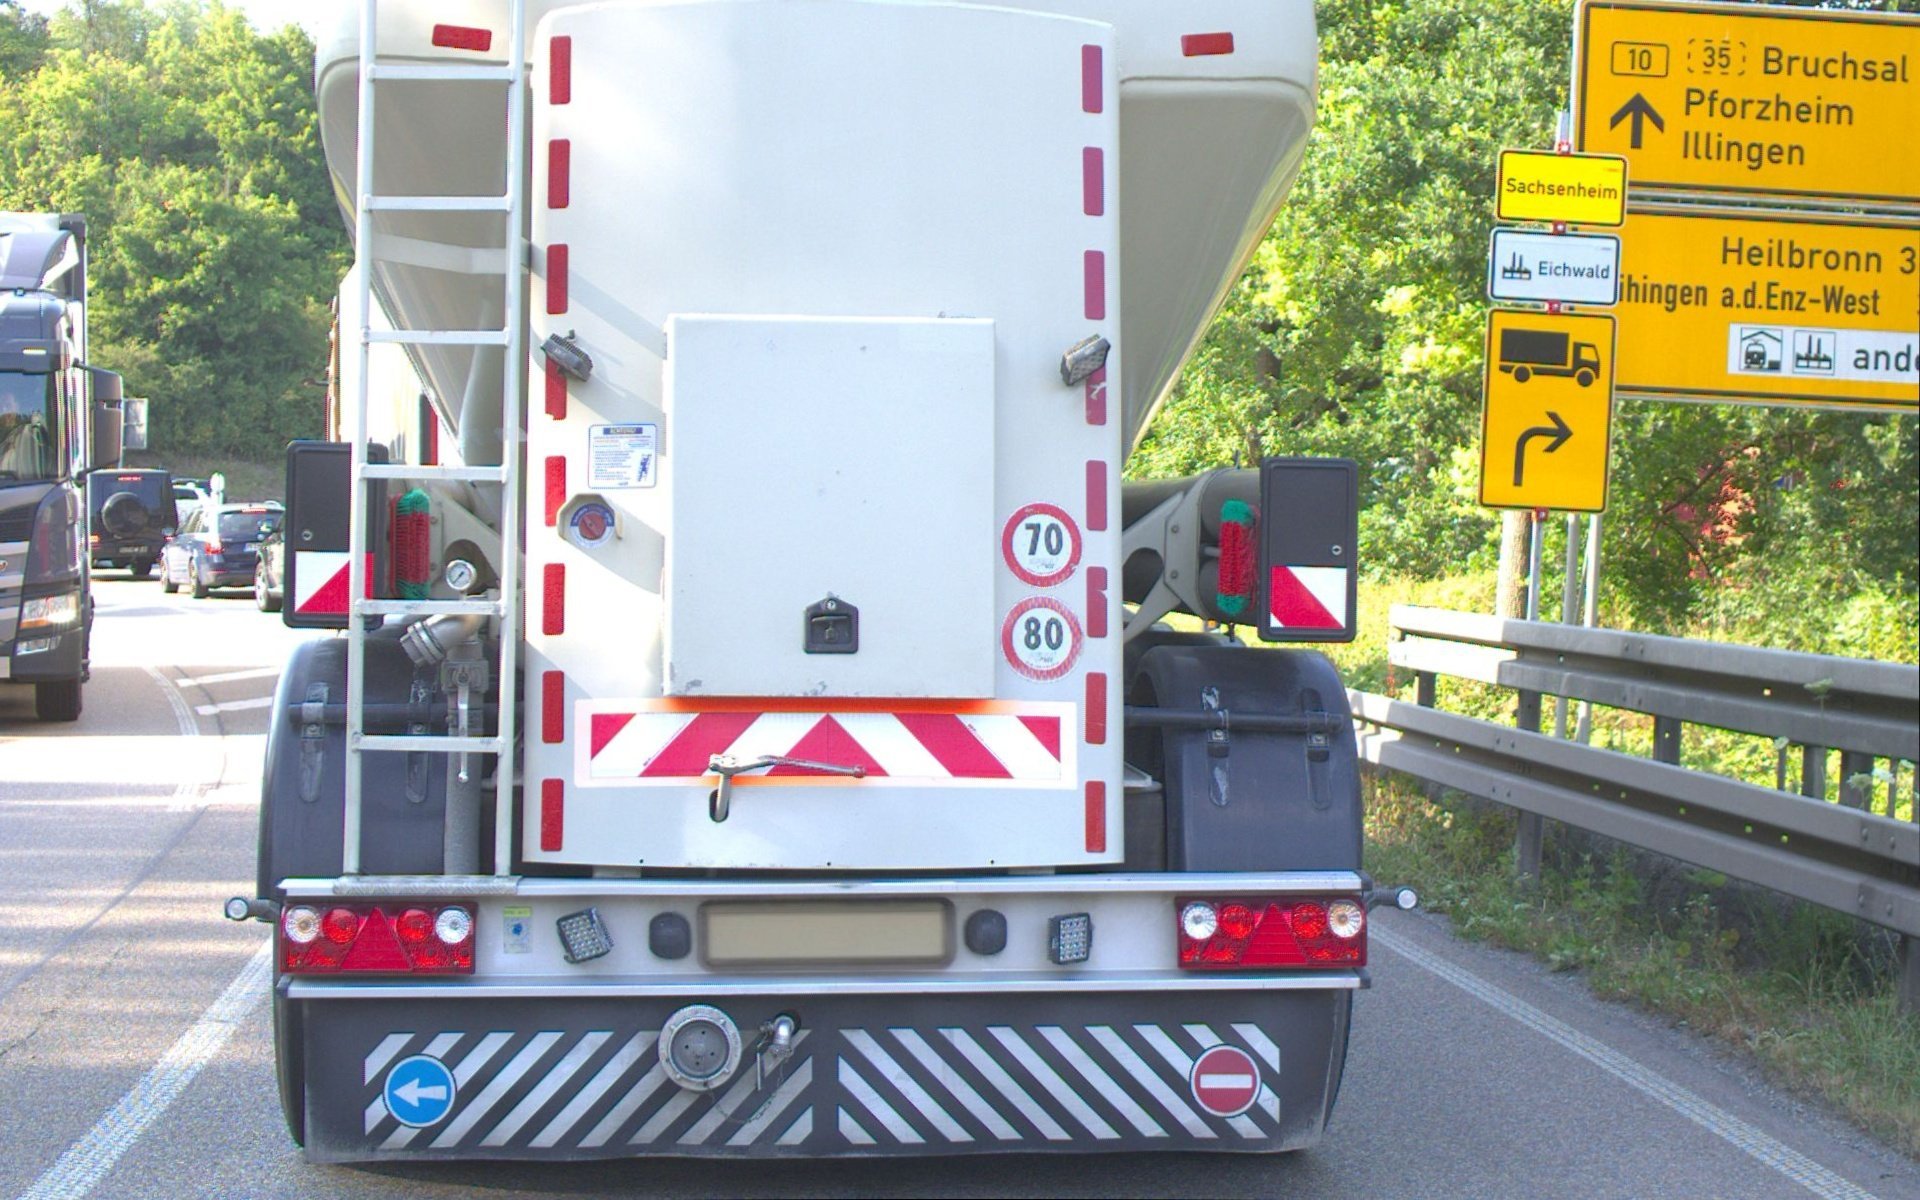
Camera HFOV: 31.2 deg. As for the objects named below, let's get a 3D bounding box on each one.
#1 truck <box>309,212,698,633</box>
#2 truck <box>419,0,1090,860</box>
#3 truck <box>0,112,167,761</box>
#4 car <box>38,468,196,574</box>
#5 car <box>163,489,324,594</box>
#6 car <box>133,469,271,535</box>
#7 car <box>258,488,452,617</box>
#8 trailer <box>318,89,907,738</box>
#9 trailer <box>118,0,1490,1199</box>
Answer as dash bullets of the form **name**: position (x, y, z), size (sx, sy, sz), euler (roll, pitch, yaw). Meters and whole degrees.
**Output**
- **truck**: position (-5.130, -1.866, 37.414), size (3.449, 4.072, 6.493), euler (1, 2, -13)
- **truck**: position (-1.232, -0.958, 17.646), size (2.823, 4.021, 5.896), euler (1, 1, -7)
- **truck**: position (-8.702, -1.262, 28.973), size (3.011, 4.569, 10.244), euler (1, 1, -18)
- **car**: position (-15.355, -1.475, 62.488), size (1.956, 1.845, 4.001), euler (-1, 2, -26)
- **car**: position (-11.229, -0.939, 53.714), size (1.867, 1.559, 4.001), euler (-1, 2, -21)
- **car**: position (-25.565, -3.299, 115.998), size (3.989, 2.007, 1.999), euler (2, 1, -42)
- **car**: position (-8.126, -0.678, 45.947), size (1.867, 1.622, 4.001), euler (-1, 2, -20)
- **trailer**: position (-3.629, -1.423, 30.870), size (3.544, 4.497, 12.988), euler (2, 1, -13)
- **trailer**: position (-0.689, -1.015, 12.113), size (2.886, 4.439, 9.607), euler (1, 1, -5)
